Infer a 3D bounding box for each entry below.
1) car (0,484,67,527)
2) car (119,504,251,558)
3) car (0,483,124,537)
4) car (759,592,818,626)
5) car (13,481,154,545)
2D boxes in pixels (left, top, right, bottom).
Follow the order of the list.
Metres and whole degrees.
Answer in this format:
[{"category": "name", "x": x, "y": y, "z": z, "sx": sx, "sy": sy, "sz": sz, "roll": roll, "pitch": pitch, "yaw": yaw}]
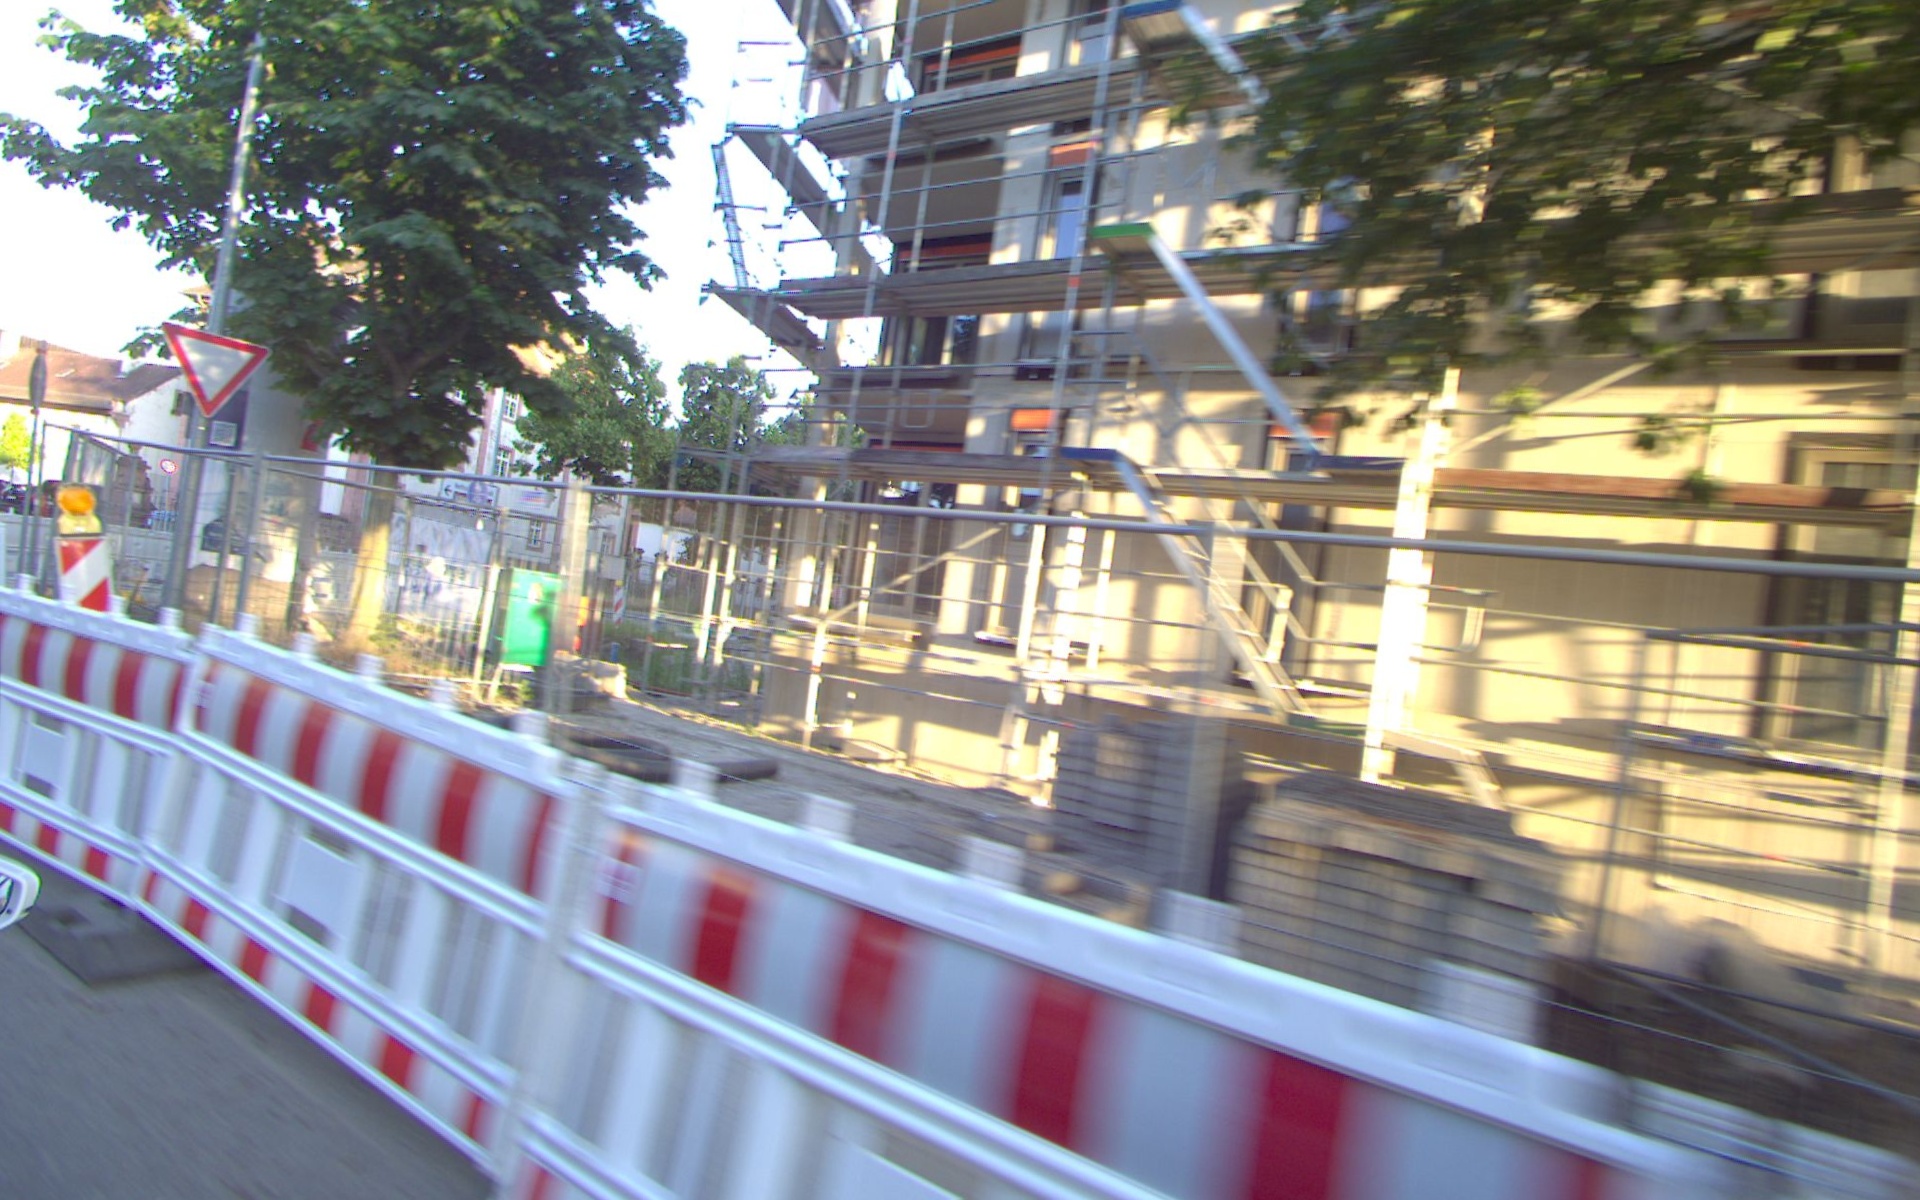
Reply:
[{"category": "car", "x": -43.547, "y": -4.461, "z": 45.921, "sx": 1.655, "sy": 1.546, "sz": 3.758, "roll": 8, "pitch": -2, "yaw": 11}, {"category": "car", "x": -32.547, "y": -2.856, "z": 42.405, "sx": 1.962, "sy": 1.475, "sz": 4.006, "roll": 8, "pitch": -2, "yaw": 11}, {"category": "car", "x": -39.534, "y": -3.927, "z": 44.045, "sx": 1.962, "sy": 1.590, "sz": 4.006, "roll": 8, "pitch": -2, "yaw": 11}, {"category": "car", "x": -13.589, "y": 0.755, "z": 79.788, "sx": 3.924, "sy": 2.037, "sz": 2.002, "roll": 9, "pitch": -1, "yaw": 9}, {"category": "car", "x": -37.348, "y": -3.673, "z": 42.997, "sx": 1.962, "sy": 1.879, "sz": 4.006, "roll": 8, "pitch": -2, "yaw": 11}]
